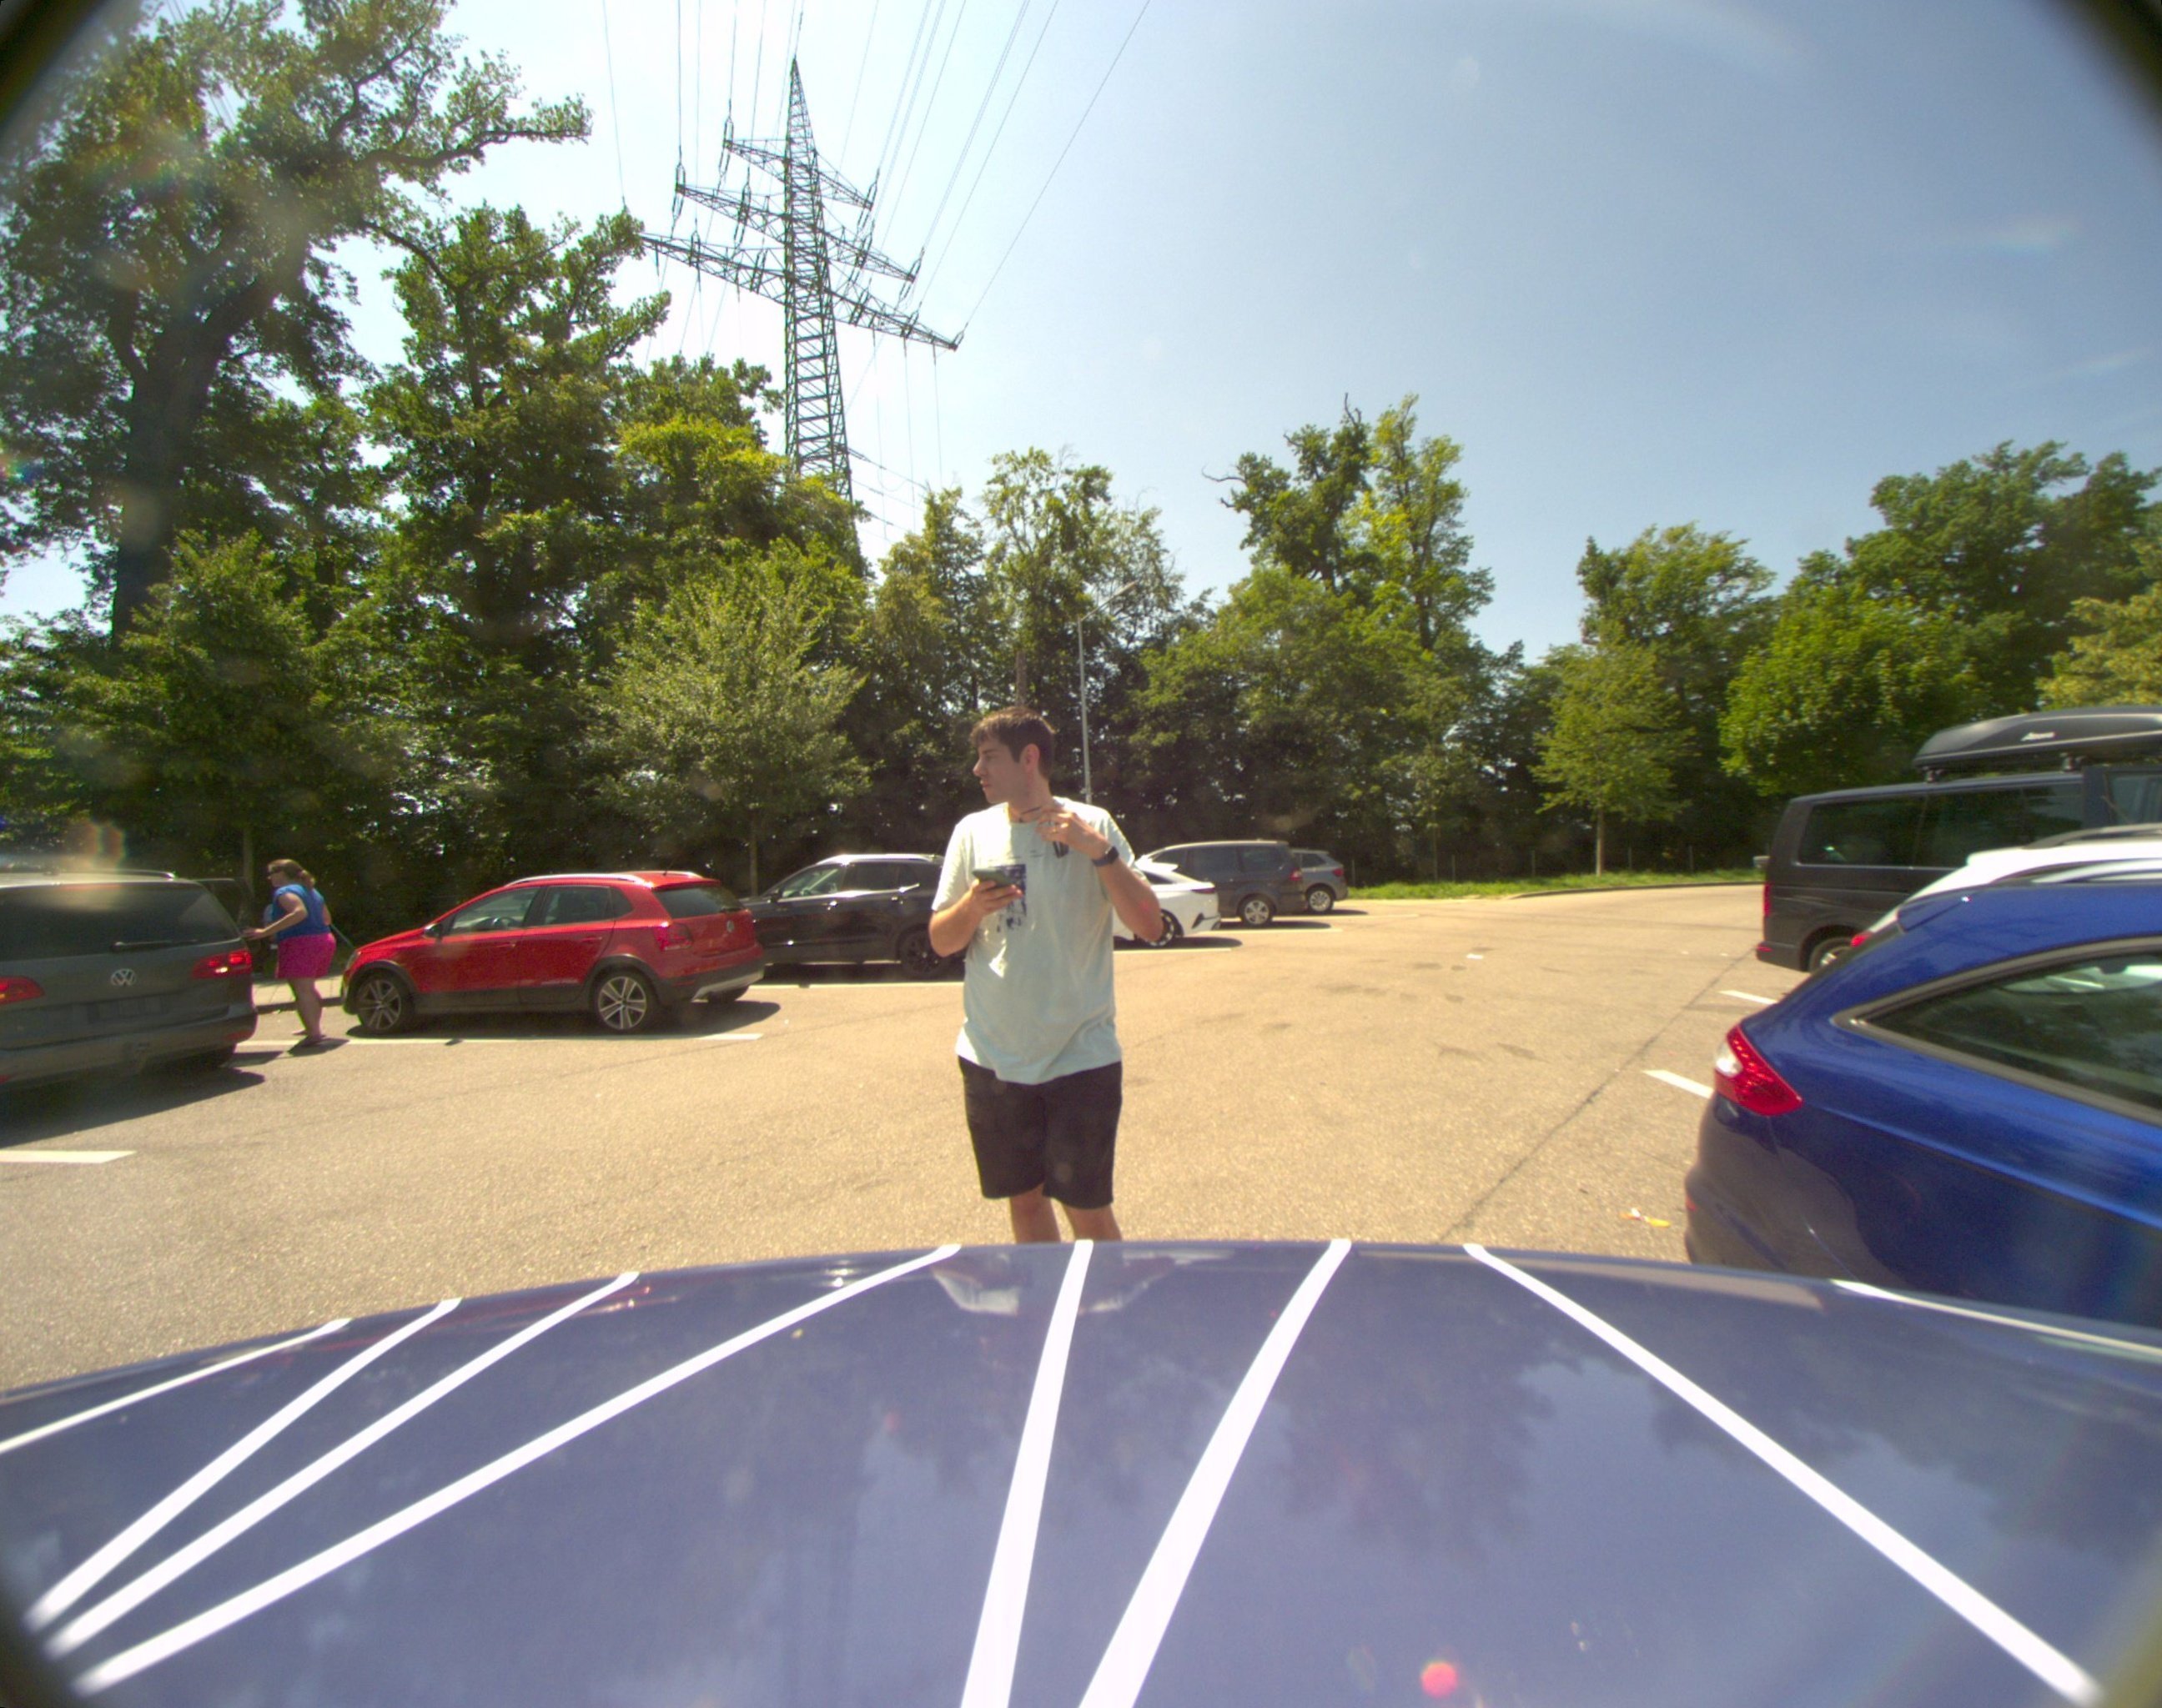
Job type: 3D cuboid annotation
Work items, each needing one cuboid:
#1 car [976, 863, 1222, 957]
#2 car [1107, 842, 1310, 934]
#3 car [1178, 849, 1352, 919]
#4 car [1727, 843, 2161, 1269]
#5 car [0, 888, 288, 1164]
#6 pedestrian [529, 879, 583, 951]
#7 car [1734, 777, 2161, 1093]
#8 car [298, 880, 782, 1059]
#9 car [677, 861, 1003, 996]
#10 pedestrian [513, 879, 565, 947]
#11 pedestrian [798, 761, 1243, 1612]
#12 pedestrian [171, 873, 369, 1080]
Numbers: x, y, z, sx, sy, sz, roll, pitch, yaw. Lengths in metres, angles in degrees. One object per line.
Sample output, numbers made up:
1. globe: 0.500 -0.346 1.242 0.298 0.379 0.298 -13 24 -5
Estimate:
1. car: 0.349 0.900 12.718 3.819 1.377 1.722 -1 1 6
2. car: 2.573 0.669 15.444 3.818 1.714 1.722 -1 1 12
3. car: 4.325 0.692 18.146 3.818 1.530 1.722 -1 1 12
4. car: 4.857 0.726 2.275 1.741 1.524 4.642 -3 -1 -2
5. car: -8.307 1.105 5.433 3.985 1.572 1.749 -1 1 12
6. pedestrian: -10.016 1.137 14.494 0.782 1.287 0.670 -1 2 45
7. car: 7.305 0.438 4.904 1.961 1.858 4.642 -3 -1 -3
8. car: -5.255 1.065 7.642 3.785 1.457 1.722 -1 1 9
9. car: -3.082 0.937 10.253 3.787 1.564 1.721 -1 1 2
10. pedestrian: -10.924 1.163 15.309 0.782 1.287 0.670 -1 2 45
11. pedestrian: -0.120 0.731 1.953 0.890 1.831 0.622 -2 1 1
12. pedestrian: -7.228 1.036 6.835 0.734 1.672 0.919 -2 1 -9
